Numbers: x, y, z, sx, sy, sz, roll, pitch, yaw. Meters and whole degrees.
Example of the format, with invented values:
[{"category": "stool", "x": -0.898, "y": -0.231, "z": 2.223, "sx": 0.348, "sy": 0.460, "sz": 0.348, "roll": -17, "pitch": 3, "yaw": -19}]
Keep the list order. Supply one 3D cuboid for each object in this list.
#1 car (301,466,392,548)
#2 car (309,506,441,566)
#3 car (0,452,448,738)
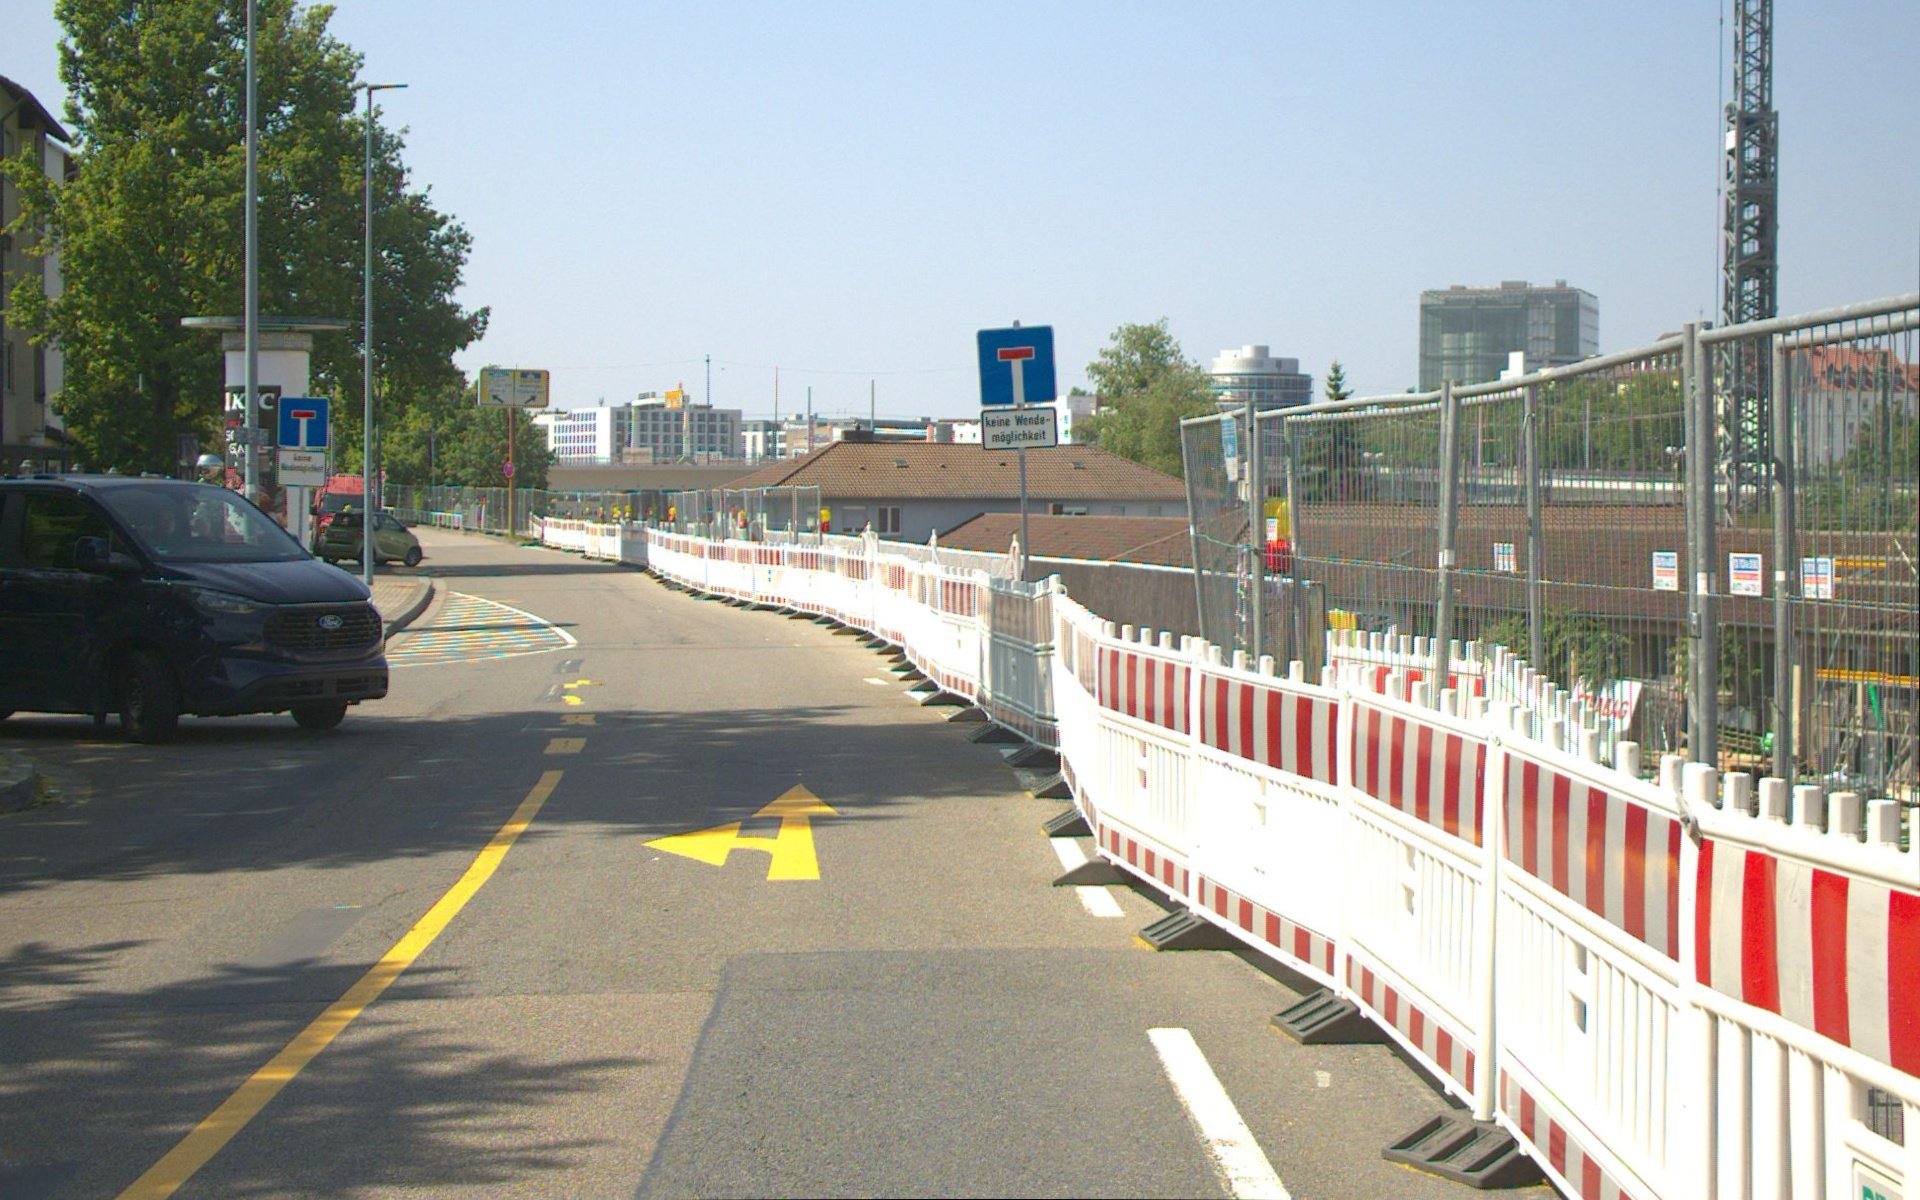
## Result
[{"category": "car", "x": -19.745, "y": -2.962, "z": 110.802, "sx": 2.537, "sy": 2.511, "sz": 5.119, "roll": 1, "pitch": 1, "yaw": -6}, {"category": "car", "x": -16.508, "y": -1.793, "z": 97.100, "sx": 1.725, "sy": 1.632, "sz": 3.273, "roll": 1, "pitch": 1, "yaw": 43}, {"category": "car", "x": -6.717, "y": -0.050, "z": 26.022, "sx": 5.436, "sy": 1.961, "sz": 2.180, "roll": -1, "pitch": 2, "yaw": 31}]
